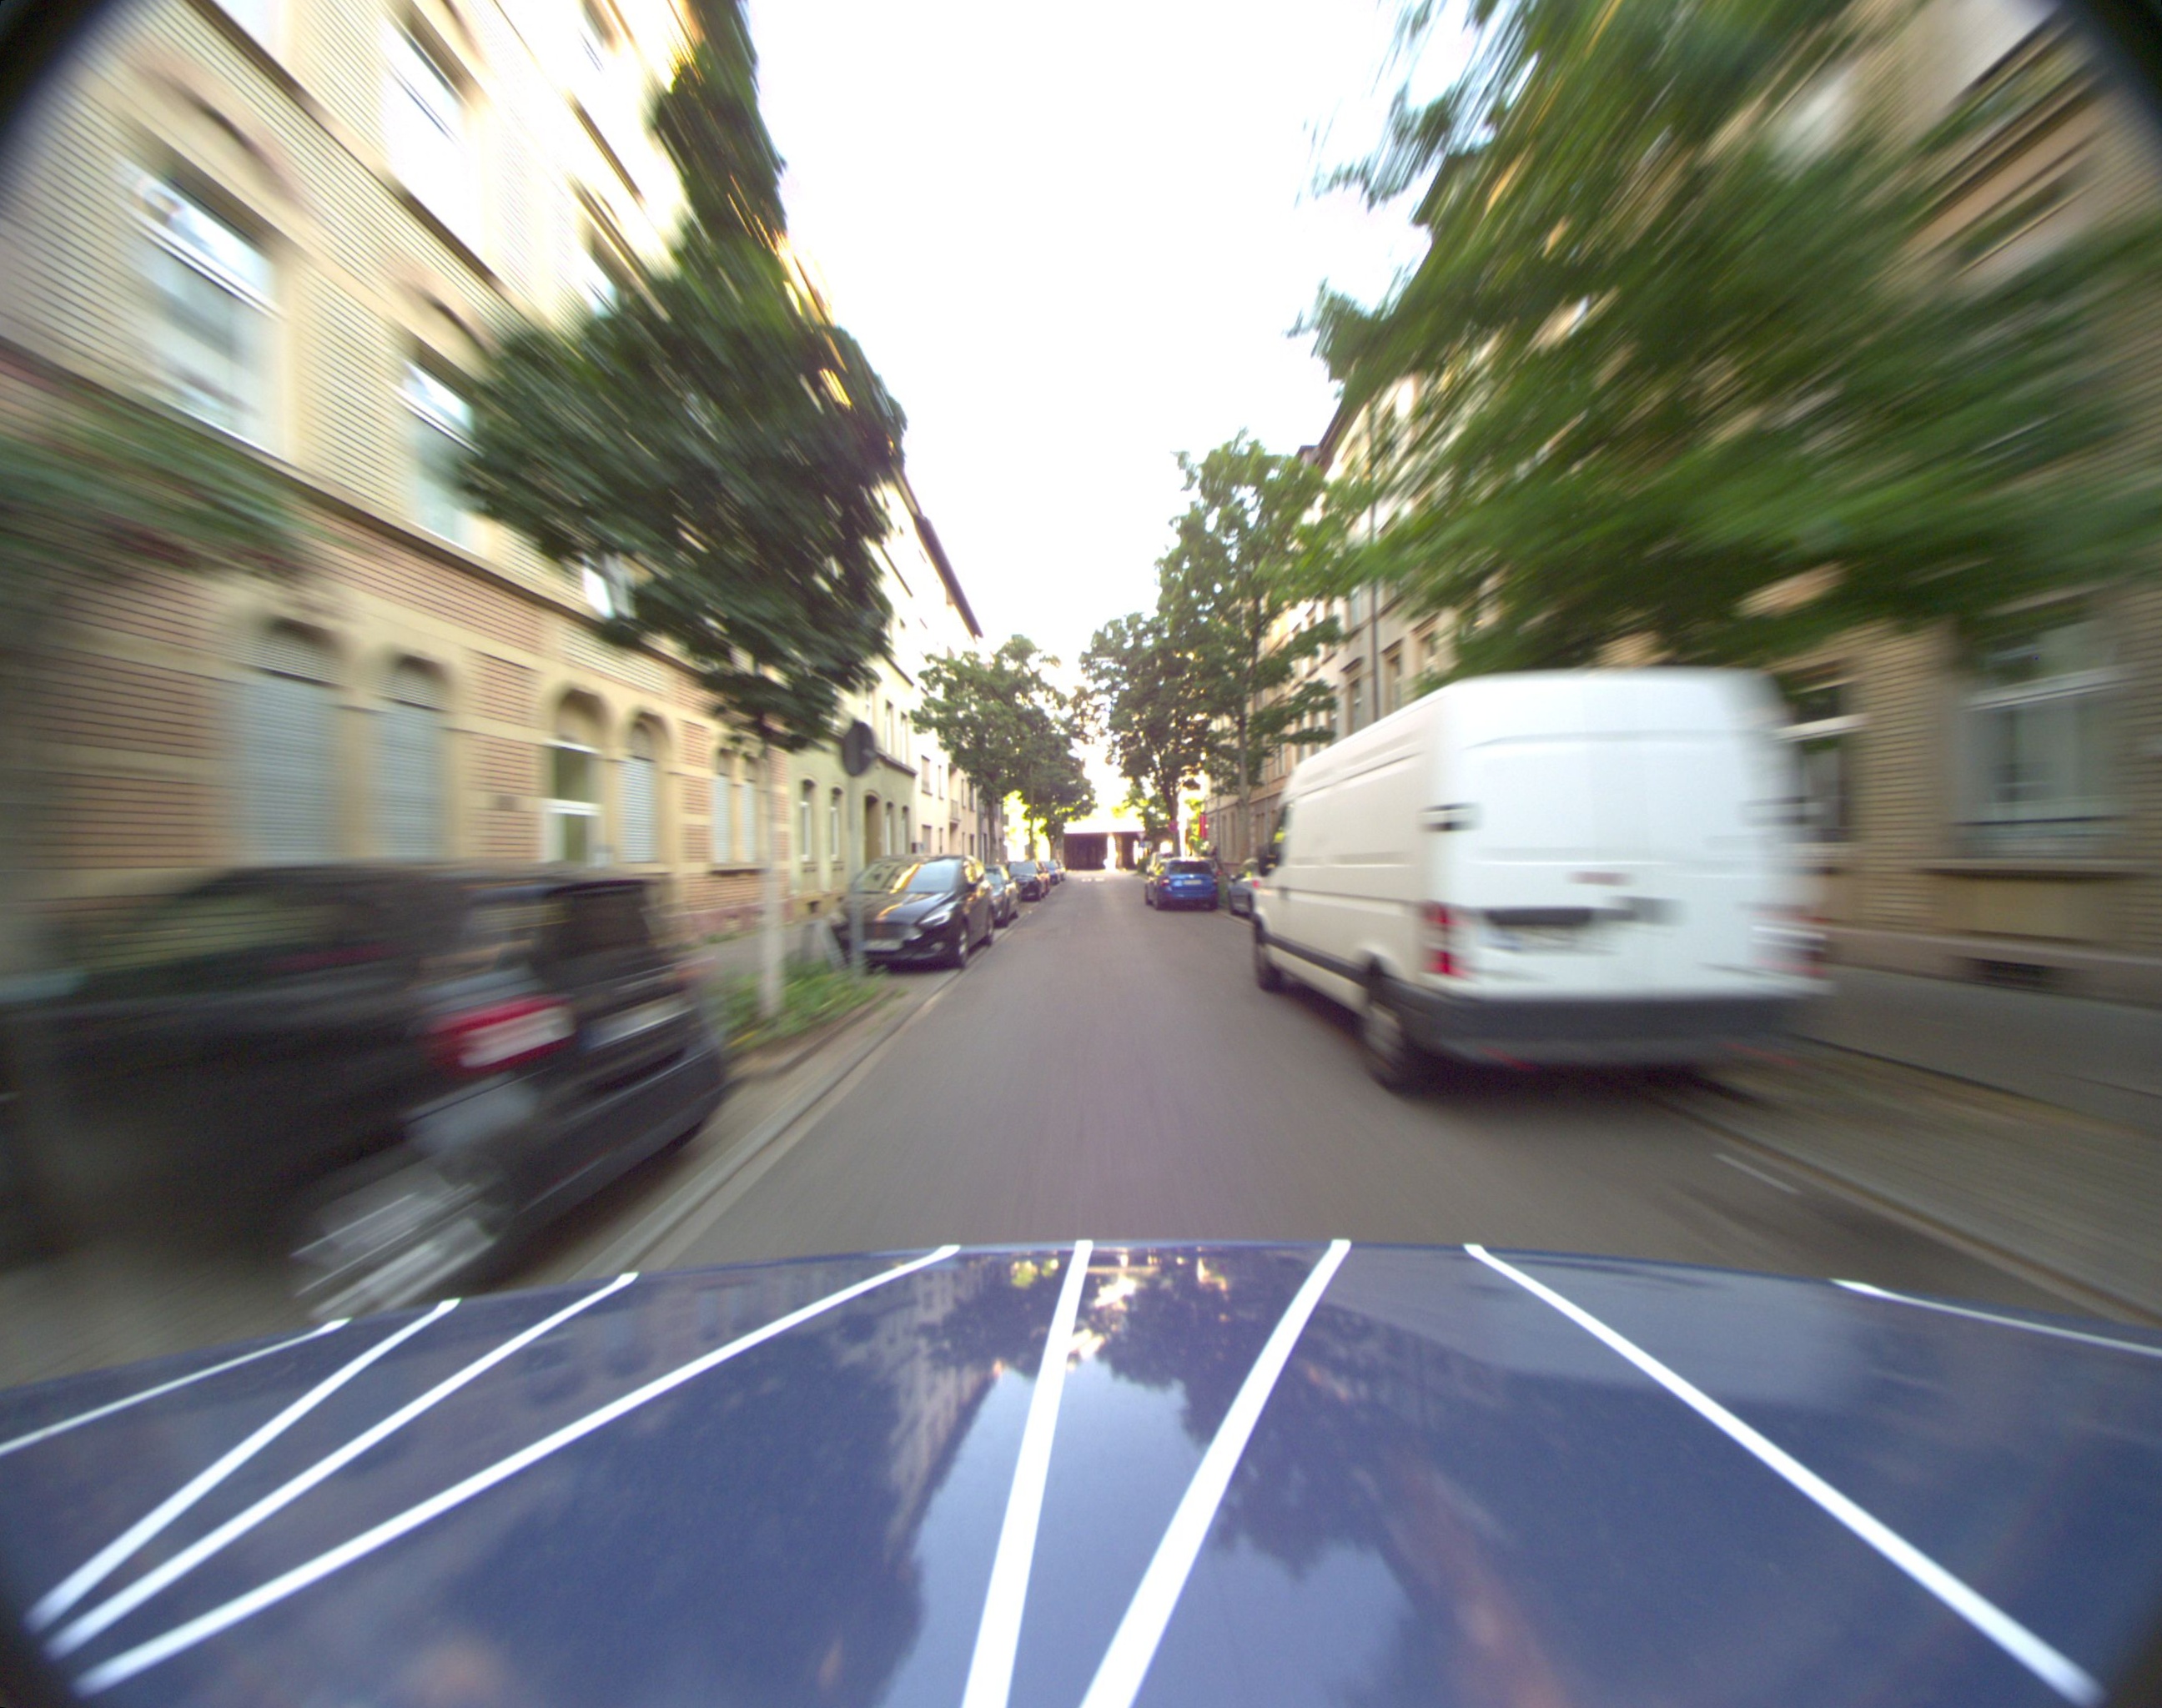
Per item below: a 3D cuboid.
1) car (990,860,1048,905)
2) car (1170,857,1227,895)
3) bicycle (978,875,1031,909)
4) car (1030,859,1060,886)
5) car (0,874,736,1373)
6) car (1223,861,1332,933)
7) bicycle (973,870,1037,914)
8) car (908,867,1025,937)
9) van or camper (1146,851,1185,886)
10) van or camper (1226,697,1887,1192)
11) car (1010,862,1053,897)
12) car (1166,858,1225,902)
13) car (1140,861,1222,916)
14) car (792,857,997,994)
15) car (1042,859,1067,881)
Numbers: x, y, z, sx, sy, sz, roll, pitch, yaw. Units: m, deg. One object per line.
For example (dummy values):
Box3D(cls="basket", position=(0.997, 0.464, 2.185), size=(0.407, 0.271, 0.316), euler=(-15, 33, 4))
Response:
Box3D(cls="car", position=(-2.264, 1.007, 28.716), size=(1.835, 1.530, 4.124), euler=(0, 0, 1))
Box3D(cls="car", position=(5.067, 0.908, 33.122), size=(1.756, 1.486, 3.756), euler=(-1, 0, -2))
Box3D(cls="bicycle", position=(-2.513, 1.228, 24.998), size=(1.753, 1.014, 0.642), euler=(1, 2, 36))
Box3D(cls="car", position=(-2.111, 1.061, 45.207), size=(1.656, 1.500, 3.869), euler=(-1, 0, -1))
Box3D(cls="car", position=(-3.225, 0.916, 3.299), size=(2.721, 1.564, 1.526), euler=(1, 0, 1))
Box3D(cls="car", position=(4.501, 0.927, 17.934), size=(1.614, 1.431, 3.848), euler=(-2, 0, 1))
Box3D(cls="bicycle", position=(-2.229, 1.105, 22.300), size=(1.761, 1.217, 0.639), euler=(0, 2, -27))
Box3D(cls="car", position=(-2.582, 1.045, 18.429), size=(2.051, 1.395, 4.866), euler=(0, 0, 1))
Box3D(cls="van or camper", position=(4.801, 0.797, 43.666), size=(1.684, 1.847, 3.756), euler=(-1, 0, -2))
Box3D(cls="van or camper", position=(2.857, 0.453, 6.547), size=(2.225, 2.416, 5.660), euler=(0, 0, 1))
Box3D(cls="car", position=(-2.137, 1.090, 33.799), size=(1.656, 1.431, 3.639), euler=(-1, 0, 0))
Box3D(cls="car", position=(4.233, 0.931, 28.640), size=(1.756, 1.486, 3.757), euler=(-1, 0, 2))
Box3D(cls="car", position=(2.846, 0.935, 22.507), size=(1.665, 1.448, 4.283), euler=(0, 0, -3))
Box3D(cls="car", position=(-2.537, 0.885, 11.545), size=(1.944, 1.621, 4.454), euler=(-1, 0, 1))
Box3D(cls="car", position=(-1.776, 1.064, 51.341), size=(1.656, 1.381, 3.512), euler=(-1, 0, -1))
